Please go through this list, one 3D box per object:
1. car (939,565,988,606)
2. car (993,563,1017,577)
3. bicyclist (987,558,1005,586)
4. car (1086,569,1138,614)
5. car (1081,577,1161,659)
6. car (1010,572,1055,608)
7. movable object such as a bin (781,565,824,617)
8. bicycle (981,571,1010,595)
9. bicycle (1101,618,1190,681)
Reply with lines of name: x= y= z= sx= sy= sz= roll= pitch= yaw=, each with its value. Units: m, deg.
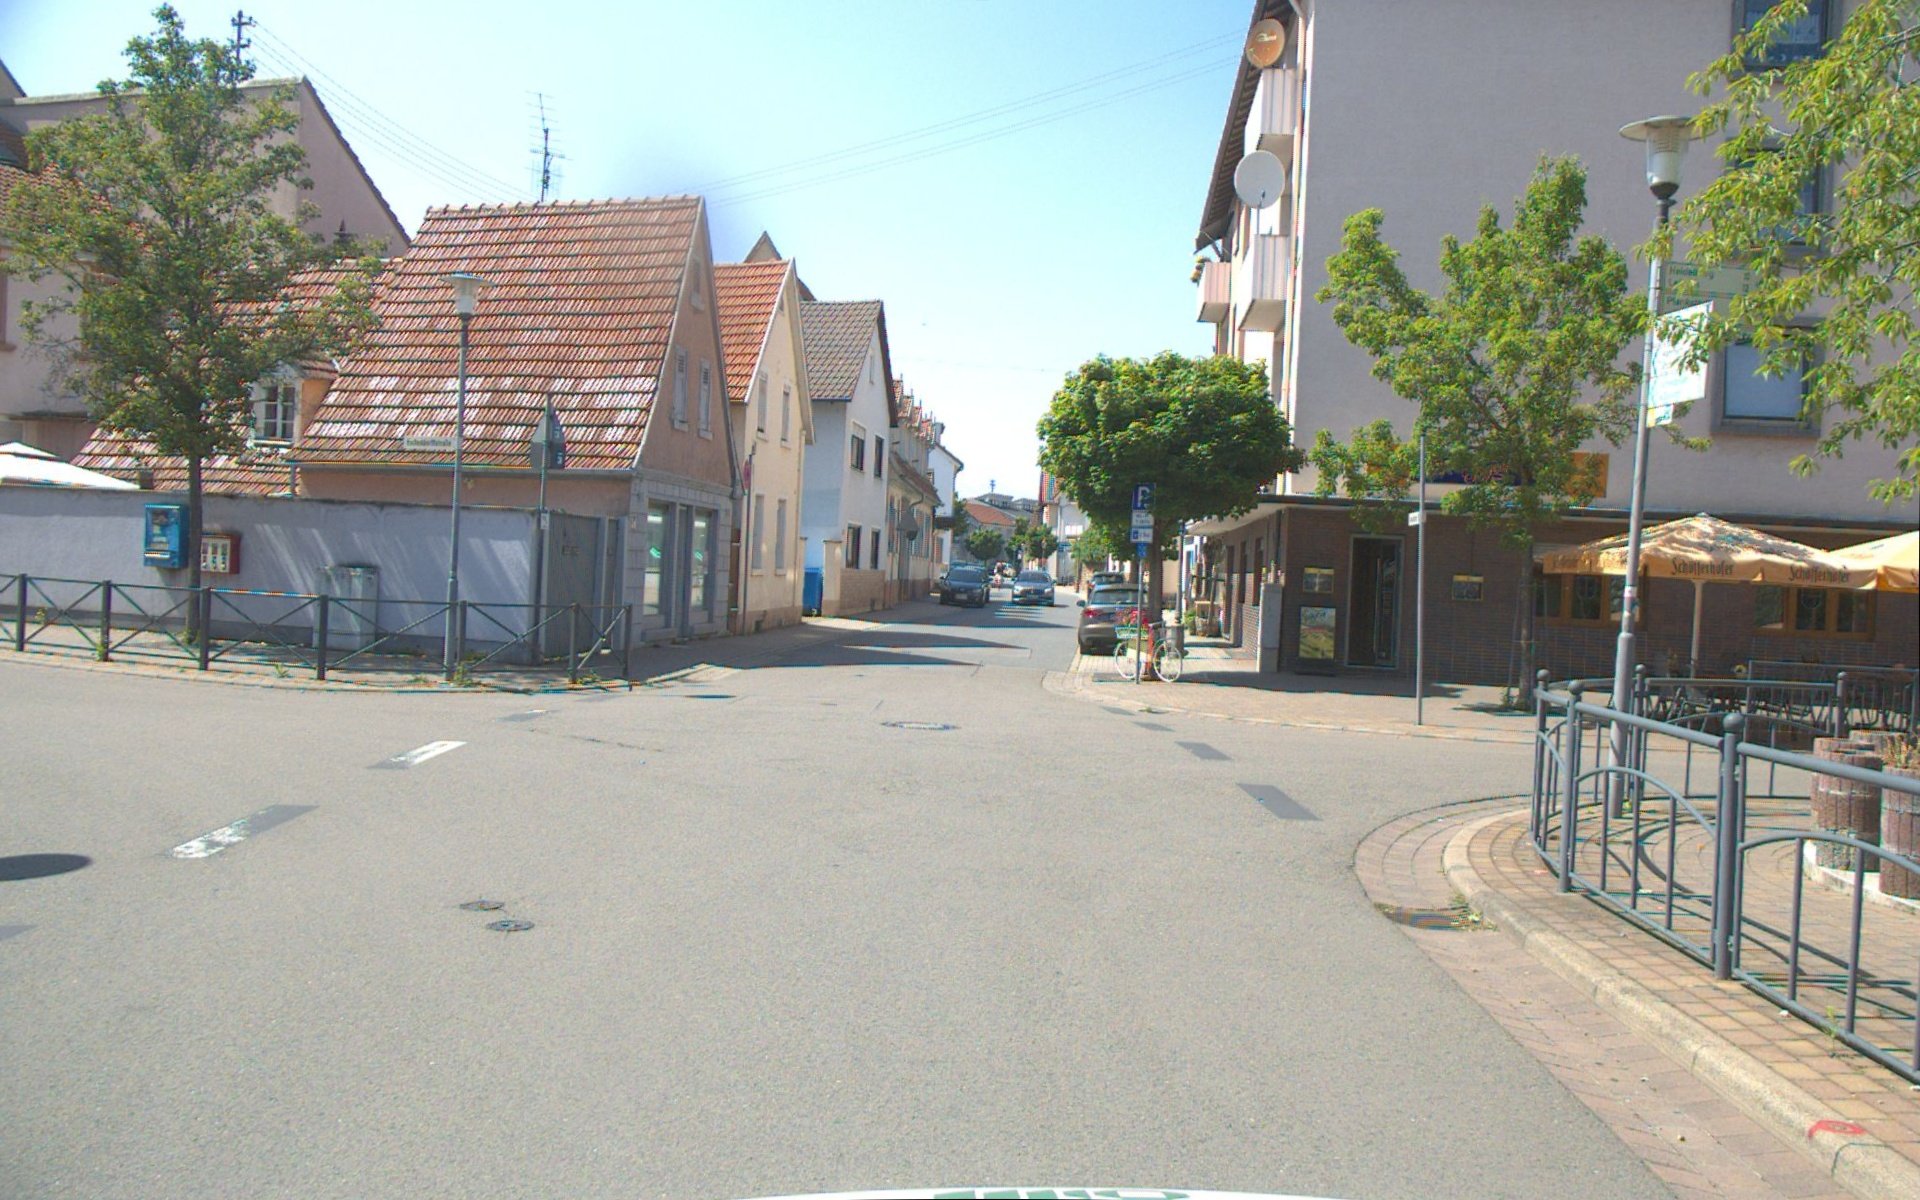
car: x=0.163 y=-0.596 z=66.218 sx=1.628 sy=1.501 sz=4.137 roll=2 pitch=1 yaw=4
car: x=5.284 y=-3.522 z=194.038 sx=1.984 sy=1.626 sz=4.513 roll=2 pitch=1 yaw=12
bicyclist: x=2.252 y=-1.752 z=102.467 sx=1.025 sy=1.666 sz=1.128 roll=2 pitch=1 yaw=-1
car: x=6.262 y=-0.392 z=68.609 sx=2.000 sy=1.718 sz=4.844 roll=2 pitch=1 yaw=4
car: x=3.414 y=0.328 z=34.844 sx=1.542 sy=1.479 sz=3.489 roll=2 pitch=3 yaw=6
car: x=3.177 y=-0.449 z=72.501 sx=1.869 sy=1.507 sz=4.846 roll=0 pitch=0 yaw=3
movable object such as a bin: x=-4.287 y=-0.246 z=45.073 sx=1.078 sy=1.389 sz=0.390 roll=2 pitch=1 yaw=8
bicycle: x=2.178 y=-1.093 z=102.547 sx=1.591 sy=1.394 sz=3.925 roll=2 pitch=1 yaw=-2
bicycle: x=2.939 y=0.775 z=26.226 sx=1.389 sy=0.912 sz=0.462 roll=2 pitch=1 yaw=42
